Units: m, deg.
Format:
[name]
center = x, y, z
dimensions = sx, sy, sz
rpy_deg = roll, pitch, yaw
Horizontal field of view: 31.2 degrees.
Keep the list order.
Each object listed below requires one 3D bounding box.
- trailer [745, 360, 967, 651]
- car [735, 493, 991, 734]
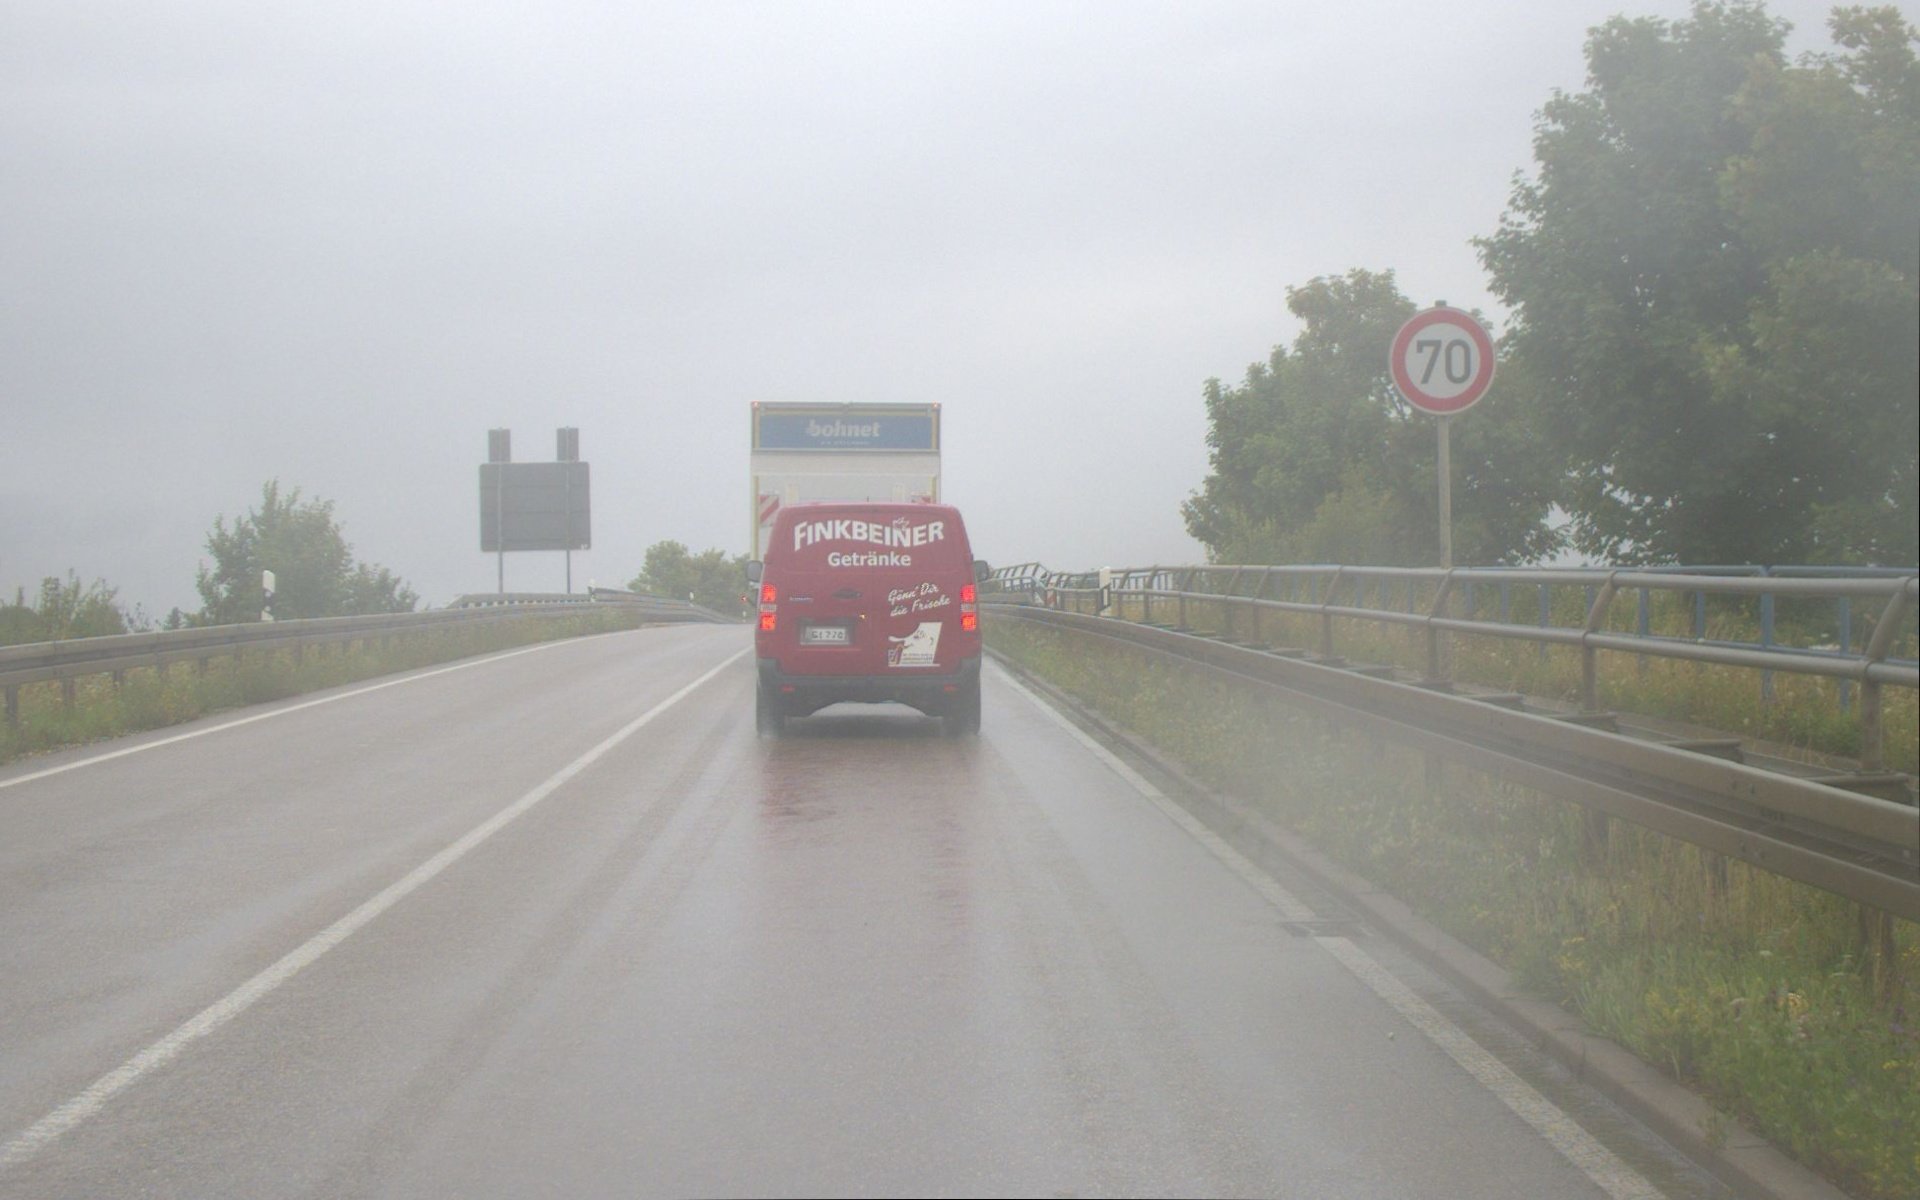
[trailer]
center = -1.372, -1.253, 50.379
dimensions = 2.832, 3.806, 9.714
rpy_deg = -1, 0, 0
[car]
center = -0.771, 0.085, 29.825
dimensions = 1.993, 1.864, 4.979
rpy_deg = -2, 0, 0
